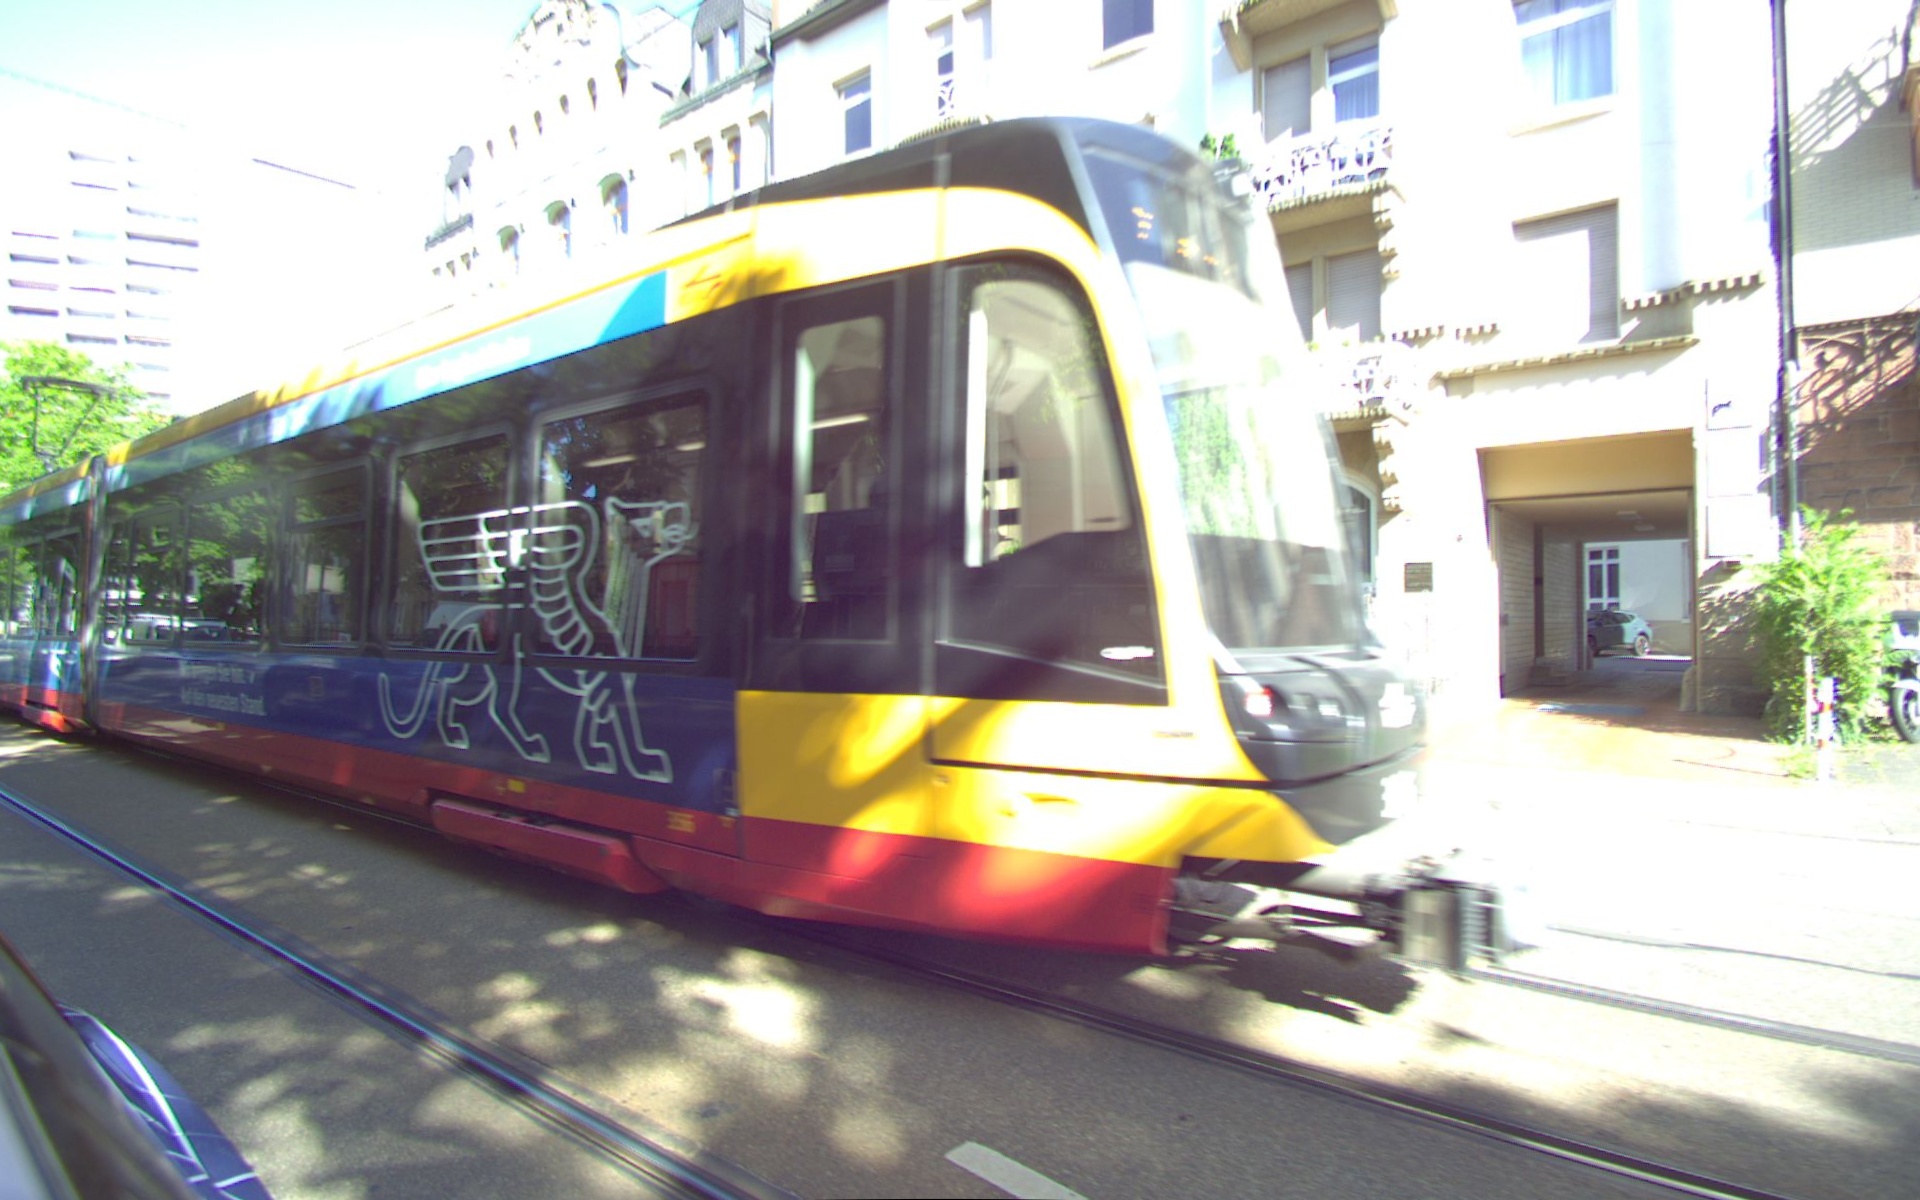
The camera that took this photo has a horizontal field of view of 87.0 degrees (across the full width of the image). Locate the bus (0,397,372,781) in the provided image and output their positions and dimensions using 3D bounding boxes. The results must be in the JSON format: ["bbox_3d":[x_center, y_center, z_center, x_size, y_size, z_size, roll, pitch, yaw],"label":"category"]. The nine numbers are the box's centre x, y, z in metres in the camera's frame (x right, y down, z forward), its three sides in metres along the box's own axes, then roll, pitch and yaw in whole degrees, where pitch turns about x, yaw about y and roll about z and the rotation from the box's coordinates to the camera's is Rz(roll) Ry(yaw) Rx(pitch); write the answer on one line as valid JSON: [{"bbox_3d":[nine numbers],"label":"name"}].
[{"bbox_3d":[-12.391,-0.073,14.602,11.168,3.805,2.832,-1,0,38],"label":"bus"}]

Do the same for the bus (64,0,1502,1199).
[{"bbox_3d":[-3.162,-0.272,7.311,12.180,3.805,2.823,-1,0,38],"label":"bus"}]

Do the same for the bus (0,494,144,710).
[{"bbox_3d":[-21.073,0.073,21.877,11.482,3.805,2.832,-1,0,38],"label":"bus"}]

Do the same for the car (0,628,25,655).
[{"bbox_3d":[-54.579,2.362,56.894,1.220,1.436,2.734,-1,0,23],"label":"car"}]

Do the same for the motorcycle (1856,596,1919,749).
[{"bbox_3d":[10.355,0.694,10.886,0.822,1.467,3.056,-1,0,37],"label":"motorcycle"}]
